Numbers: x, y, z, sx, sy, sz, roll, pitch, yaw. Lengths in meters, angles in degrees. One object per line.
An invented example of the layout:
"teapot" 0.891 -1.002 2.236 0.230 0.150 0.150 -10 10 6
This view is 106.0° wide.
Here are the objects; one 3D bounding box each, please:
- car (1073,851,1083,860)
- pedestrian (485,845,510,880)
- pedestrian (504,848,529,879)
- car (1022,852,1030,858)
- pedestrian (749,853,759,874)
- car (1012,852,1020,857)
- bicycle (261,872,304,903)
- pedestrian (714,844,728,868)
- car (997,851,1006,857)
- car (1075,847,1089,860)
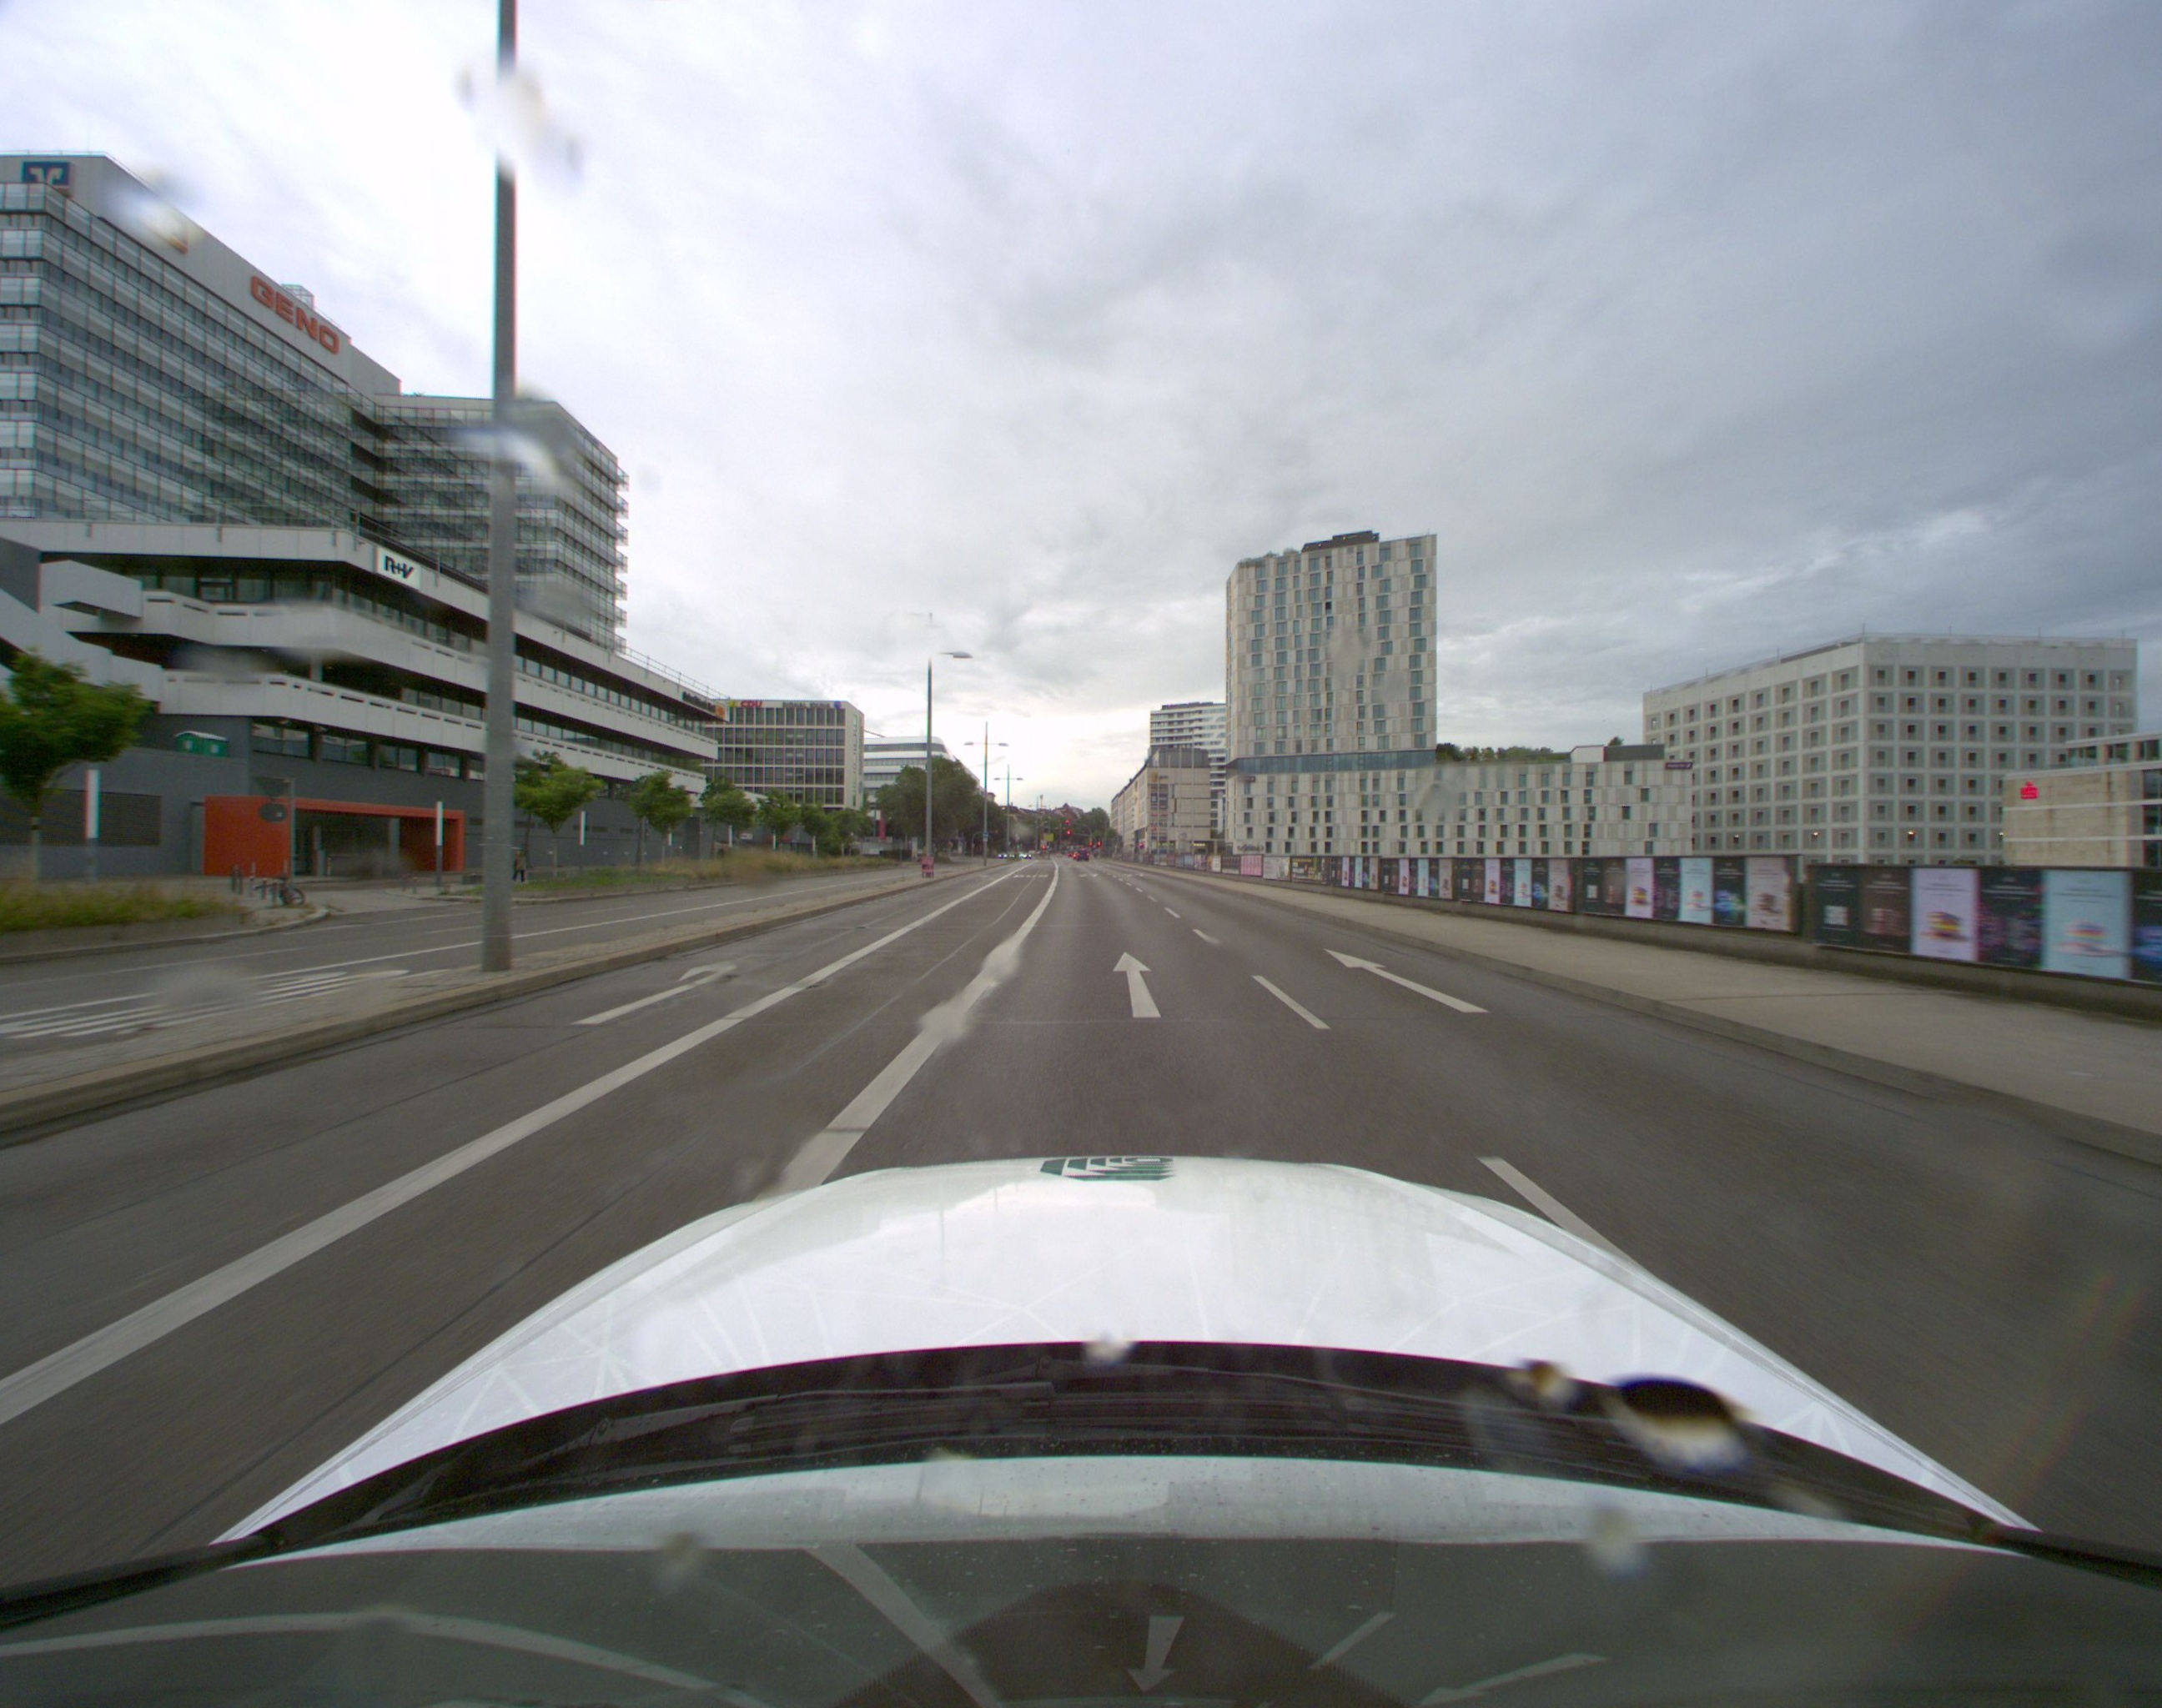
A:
"car" -0.659 0.293 157.969 1.736 1.531 3.809 0 -1 -3
"pedestrian" -27.937 0.405 38.979 0.616 1.658 0.798 -1 -1 -1
"pedestrian" -27.108 0.451 39.131 0.616 1.446 0.798 0 -1 0
"car" -13.735 0.179 203.731 1.739 1.444 3.392 0 -1 -2
"pedestrian" -28.693 0.837 71.488 0.628 1.808 0.628 0 -1 -2
"car" -16.339 0.056 204.247 1.739 1.257 3.537 0 0 -2
"bicycle" -22.956 0.956 23.438 0.612 0.857 1.639 0 -1 -35
"pedestrian" -27.347 0.132 61.946 0.782 1.808 0.628 0 -1 -2
"car" -19.855 0.067 203.608 1.739 1.328 4.222 0 -1 -2
"car" 0.120 -0.137 133.316 2.027 1.882 5.039 -3 1 -2
